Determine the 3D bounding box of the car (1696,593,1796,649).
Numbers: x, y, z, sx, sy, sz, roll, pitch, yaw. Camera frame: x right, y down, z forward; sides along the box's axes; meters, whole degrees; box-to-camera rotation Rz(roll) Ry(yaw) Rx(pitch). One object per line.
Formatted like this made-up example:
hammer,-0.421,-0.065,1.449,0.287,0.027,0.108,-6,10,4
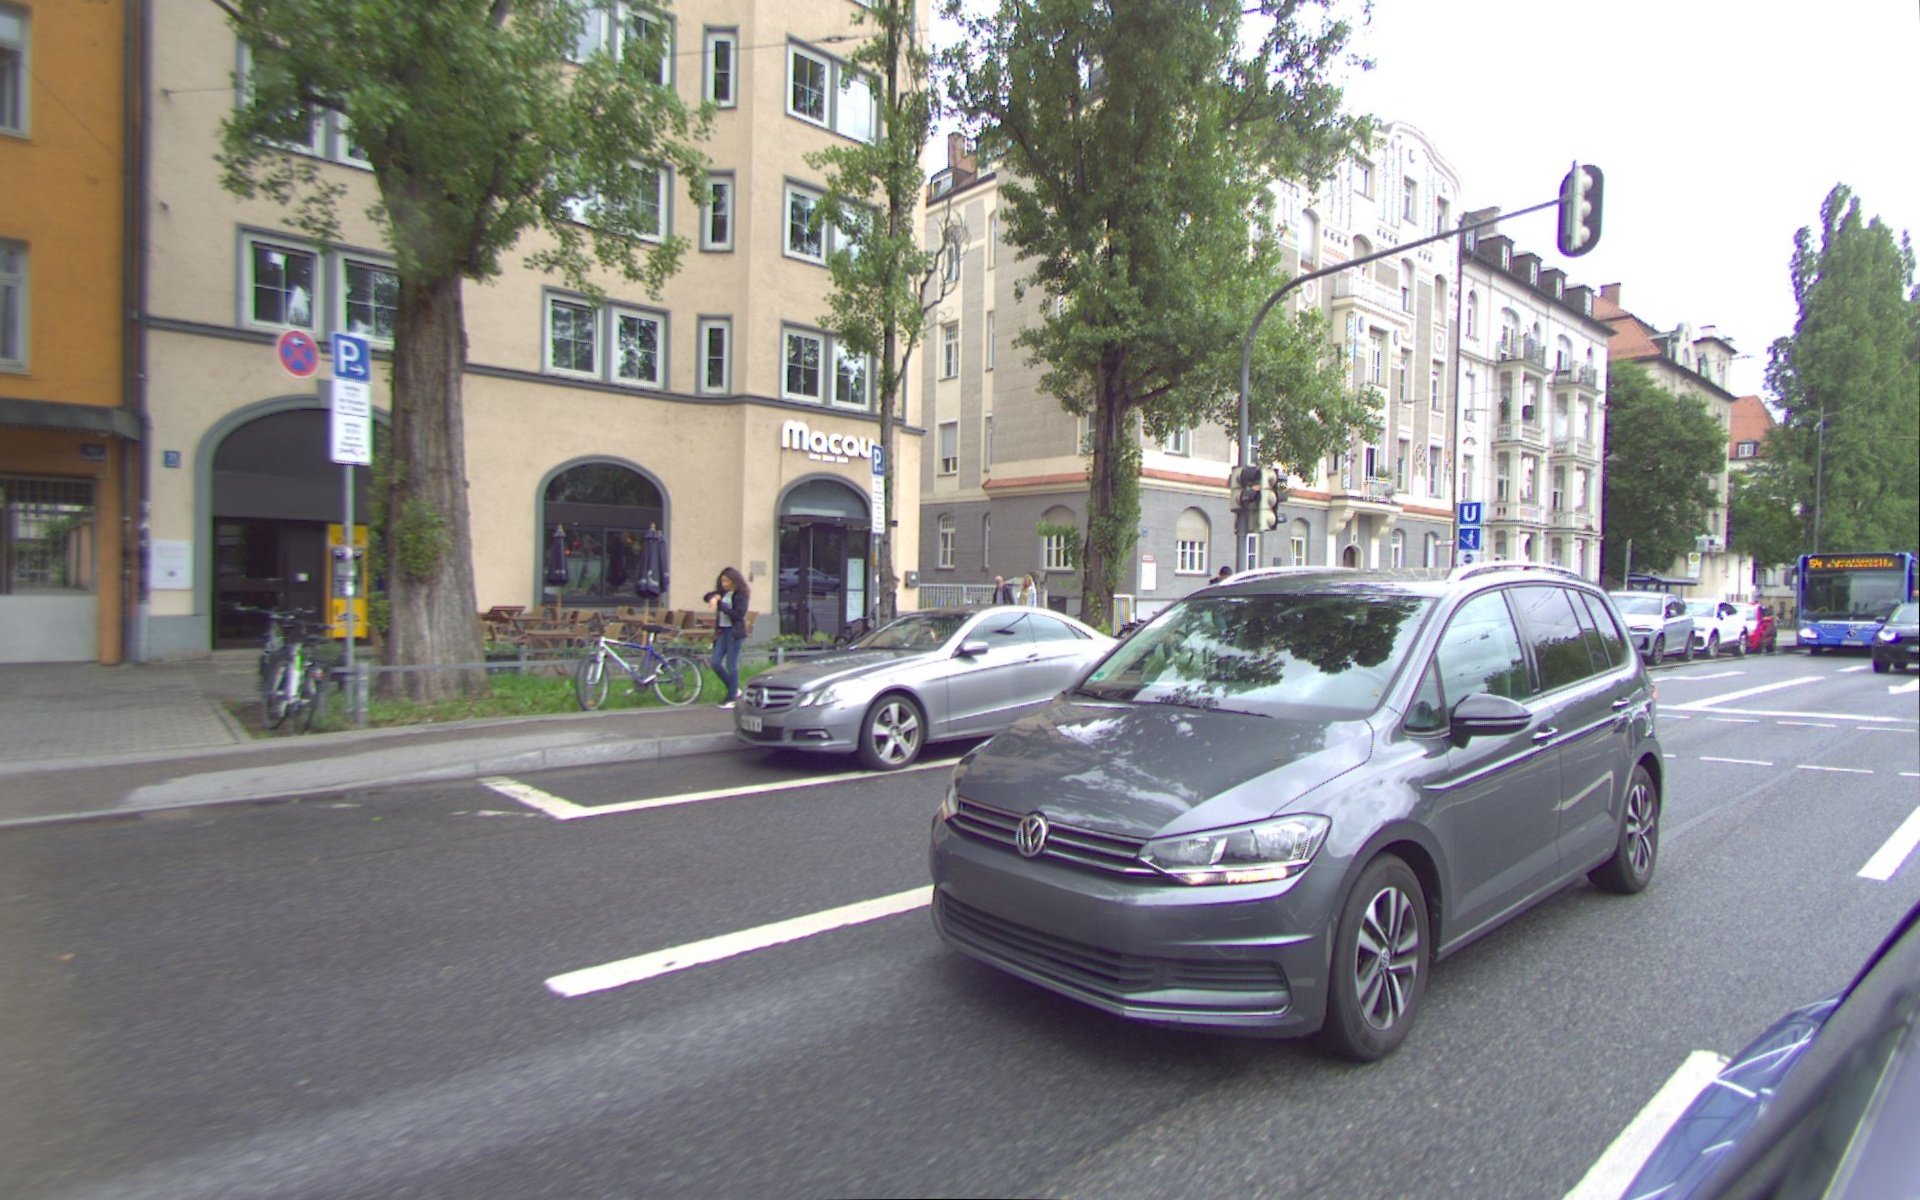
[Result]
car,23.778,0.587,30.582,3.678,1.527,1.729,0,2,-42

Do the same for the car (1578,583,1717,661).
car,16.647,0.459,24.431,4.424,1.681,1.736,0,2,-42

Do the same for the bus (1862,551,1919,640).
bus,35.442,-0.151,36.965,8.383,3.012,2.635,0,0,-41

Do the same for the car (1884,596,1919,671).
car,21.199,0.662,21.563,3.901,1.523,1.778,0,0,-41

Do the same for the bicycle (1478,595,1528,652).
bicycle,13.017,0.542,24.244,1.747,1.304,0.424,0,1,-40

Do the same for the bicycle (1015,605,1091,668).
bicycle,1.665,0.629,18.307,0.385,1.063,1.575,0,1,-39

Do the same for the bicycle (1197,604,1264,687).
bicycle,4.060,0.659,15.290,0.352,1.116,1.747,1,2,-6

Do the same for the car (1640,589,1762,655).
car,20.140,0.551,27.462,3.895,1.596,1.730,0,2,-39

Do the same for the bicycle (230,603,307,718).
bicycle,-7.792,0.628,11.373,0.450,1.127,1.890,0,2,-42

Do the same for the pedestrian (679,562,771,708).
pedestrian,-2.683,0.376,11.550,0.749,1.582,0.762,1,0,-39

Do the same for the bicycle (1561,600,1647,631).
bicycle,25.753,0.613,40.539,2.899,1.162,0.633,0,0,33

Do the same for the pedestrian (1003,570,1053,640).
pedestrian,1.731,0.110,25.784,0.999,1.735,0.747,0,1,-40

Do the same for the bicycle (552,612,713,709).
bicycle,-3.660,0.647,11.389,1.624,0.977,0.590,0,2,-40

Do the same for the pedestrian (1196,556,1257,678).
pedestrian,4.034,0.248,15.333,0.638,1.803,0.702,1,0,-7

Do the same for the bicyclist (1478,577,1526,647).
bicyclist,12.946,0.272,24.172,0.923,1.623,0.681,0,1,-40

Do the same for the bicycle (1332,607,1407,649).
bicycle,10.225,0.691,25.286,1.801,1.036,0.447,0,1,-14

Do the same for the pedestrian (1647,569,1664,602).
pedestrian,41.488,-0.874,60.361,0.661,1.919,0.609,0,1,-38

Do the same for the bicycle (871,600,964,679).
bicycle,-0.667,0.577,15.272,0.439,1.124,1.801,0,-1,-38

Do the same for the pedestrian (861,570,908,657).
pedestrian,-1.458,0.248,19.425,0.806,1.622,0.851,1,1,-8

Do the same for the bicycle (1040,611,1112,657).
bicycle,2.303,0.661,20.202,0.385,0.845,1.574,0,1,-42

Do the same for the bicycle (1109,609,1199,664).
bicycle,3.597,0.658,18.887,0.385,0.928,1.838,0,1,-38

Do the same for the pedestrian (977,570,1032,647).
pedestrian,1.027,0.177,23.276,0.999,1.706,0.747,0,1,-40

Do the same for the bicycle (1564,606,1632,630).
bicycle,25.953,0.728,41.196,2.307,0.933,0.580,0,0,33

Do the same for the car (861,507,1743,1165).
car,1.949,0.578,4.741,4.624,1.667,1.775,0,1,-40

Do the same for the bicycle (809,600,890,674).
bicycle,-1.837,0.583,16.667,0.439,1.123,1.802,0,1,-38

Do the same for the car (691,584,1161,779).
car,-0.158,0.606,10.057,4.452,1.458,1.996,0,2,-43

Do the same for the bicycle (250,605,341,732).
bicycle,-6.565,0.622,9.959,0.450,1.067,1.890,0,2,-42

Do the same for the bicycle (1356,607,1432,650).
bicycle,10.630,0.689,24.800,1.801,1.036,0.447,0,1,-14

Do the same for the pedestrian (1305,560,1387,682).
pedestrian,5.960,0.308,15.634,0.741,1.824,0.883,1,0,-30

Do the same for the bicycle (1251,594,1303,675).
bicycle,4.815,0.485,15.433,0.353,1.116,1.743,1,2,5

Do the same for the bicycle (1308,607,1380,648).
bicycle,9.786,0.693,25.799,1.801,1.036,0.393,0,1,-14

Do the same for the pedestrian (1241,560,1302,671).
pedestrian,4.782,0.227,15.564,0.743,1.658,0.700,1,0,7

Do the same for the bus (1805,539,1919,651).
bus,28.727,-0.128,31.179,9.299,3.012,2.635,0,0,-41
